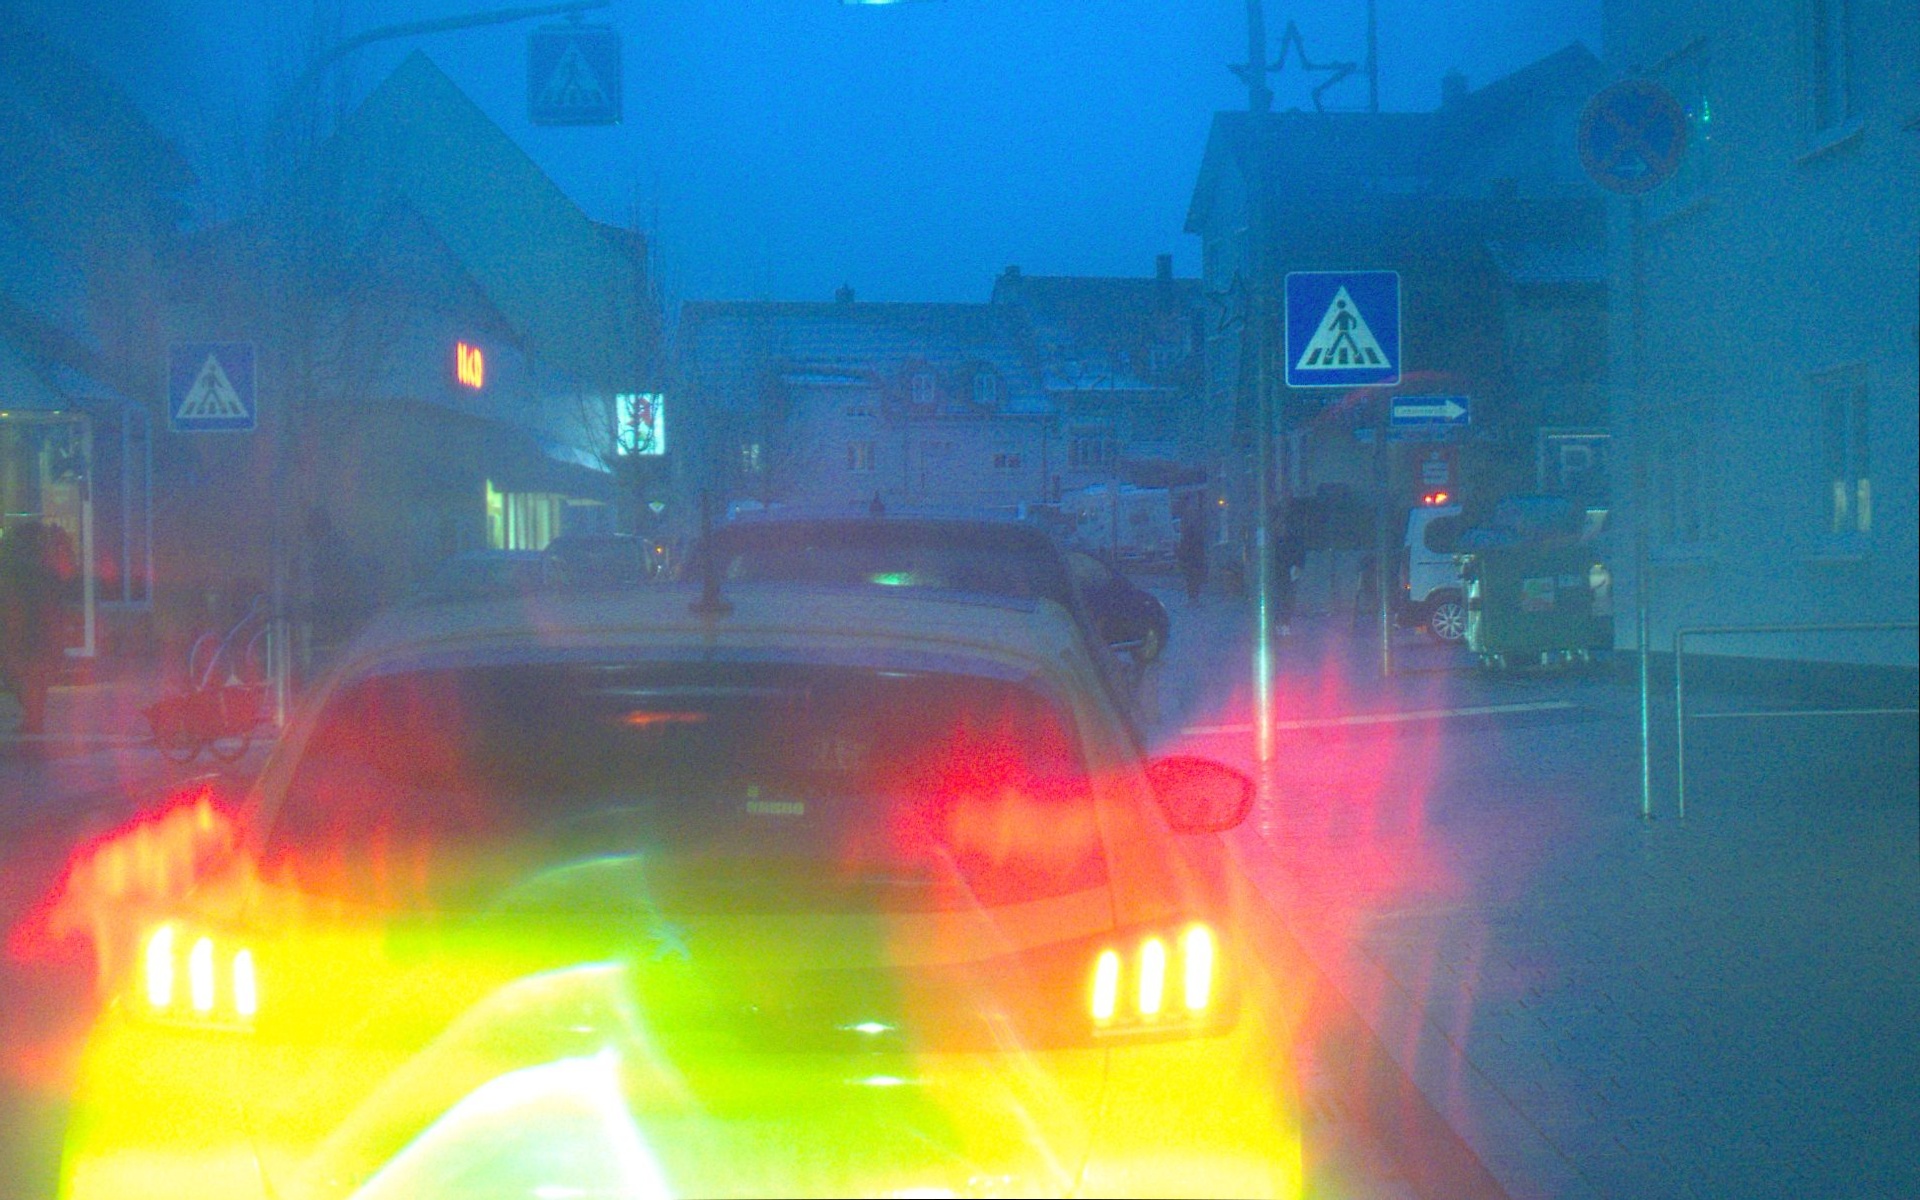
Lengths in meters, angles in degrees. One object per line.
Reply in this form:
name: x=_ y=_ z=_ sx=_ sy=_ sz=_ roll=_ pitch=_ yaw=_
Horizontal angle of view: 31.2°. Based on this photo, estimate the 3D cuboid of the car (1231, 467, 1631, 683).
car: x=4.522 y=-0.248 z=33.391 sx=3.697 sy=2.007 sz=1.689 roll=1 pitch=0 yaw=3

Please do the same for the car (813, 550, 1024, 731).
car: x=-0.328 y=0.328 z=32.803 sx=1.827 sy=1.596 sz=4.581 roll=0 pitch=1 yaw=2

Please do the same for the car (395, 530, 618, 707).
car: x=-5.366 y=0.181 z=41.222 sx=1.993 sy=2.007 sz=4.361 roll=0 pitch=1 yaw=1

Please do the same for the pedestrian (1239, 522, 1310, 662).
pedestrian: x=4.566 y=-0.127 z=49.961 sx=1.016 sy=2.007 sz=1.275 roll=0 pitch=1 yaw=5

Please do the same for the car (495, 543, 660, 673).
car: x=-5.331 y=0.076 z=48.401 sx=1.993 sy=1.746 sz=4.362 roll=0 pitch=1 yaw=-2

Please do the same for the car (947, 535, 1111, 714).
car: x=0.791 y=0.248 z=41.737 sx=1.641 sy=2.007 sz=4.001 roll=-2 pitch=1 yaw=-3

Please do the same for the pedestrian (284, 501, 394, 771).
pedestrian: x=-4.375 y=0.246 z=24.256 sx=0.703 sy=1.870 sz=0.617 roll=1 pitch=2 yaw=-7

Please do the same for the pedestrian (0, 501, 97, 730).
pedestrian: x=-7.296 y=0.101 z=26.738 sx=0.973 sy=1.736 sz=0.961 roll=1 pitch=2 yaw=-5

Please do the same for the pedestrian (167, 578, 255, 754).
pedestrian: x=-5.298 y=0.461 z=24.337 sx=0.553 sy=1.229 sz=0.434 roll=0 pitch=1 yaw=-4

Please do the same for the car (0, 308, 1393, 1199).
car: x=-0.401 y=0.503 z=6.340 sx=1.994 sy=1.789 sz=4.648 roll=0 pitch=2 yaw=2

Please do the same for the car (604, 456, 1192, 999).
car: x=-0.163 y=0.374 z=12.580 sx=1.798 sy=1.656 sz=4.000 roll=0 pitch=0 yaw=1
